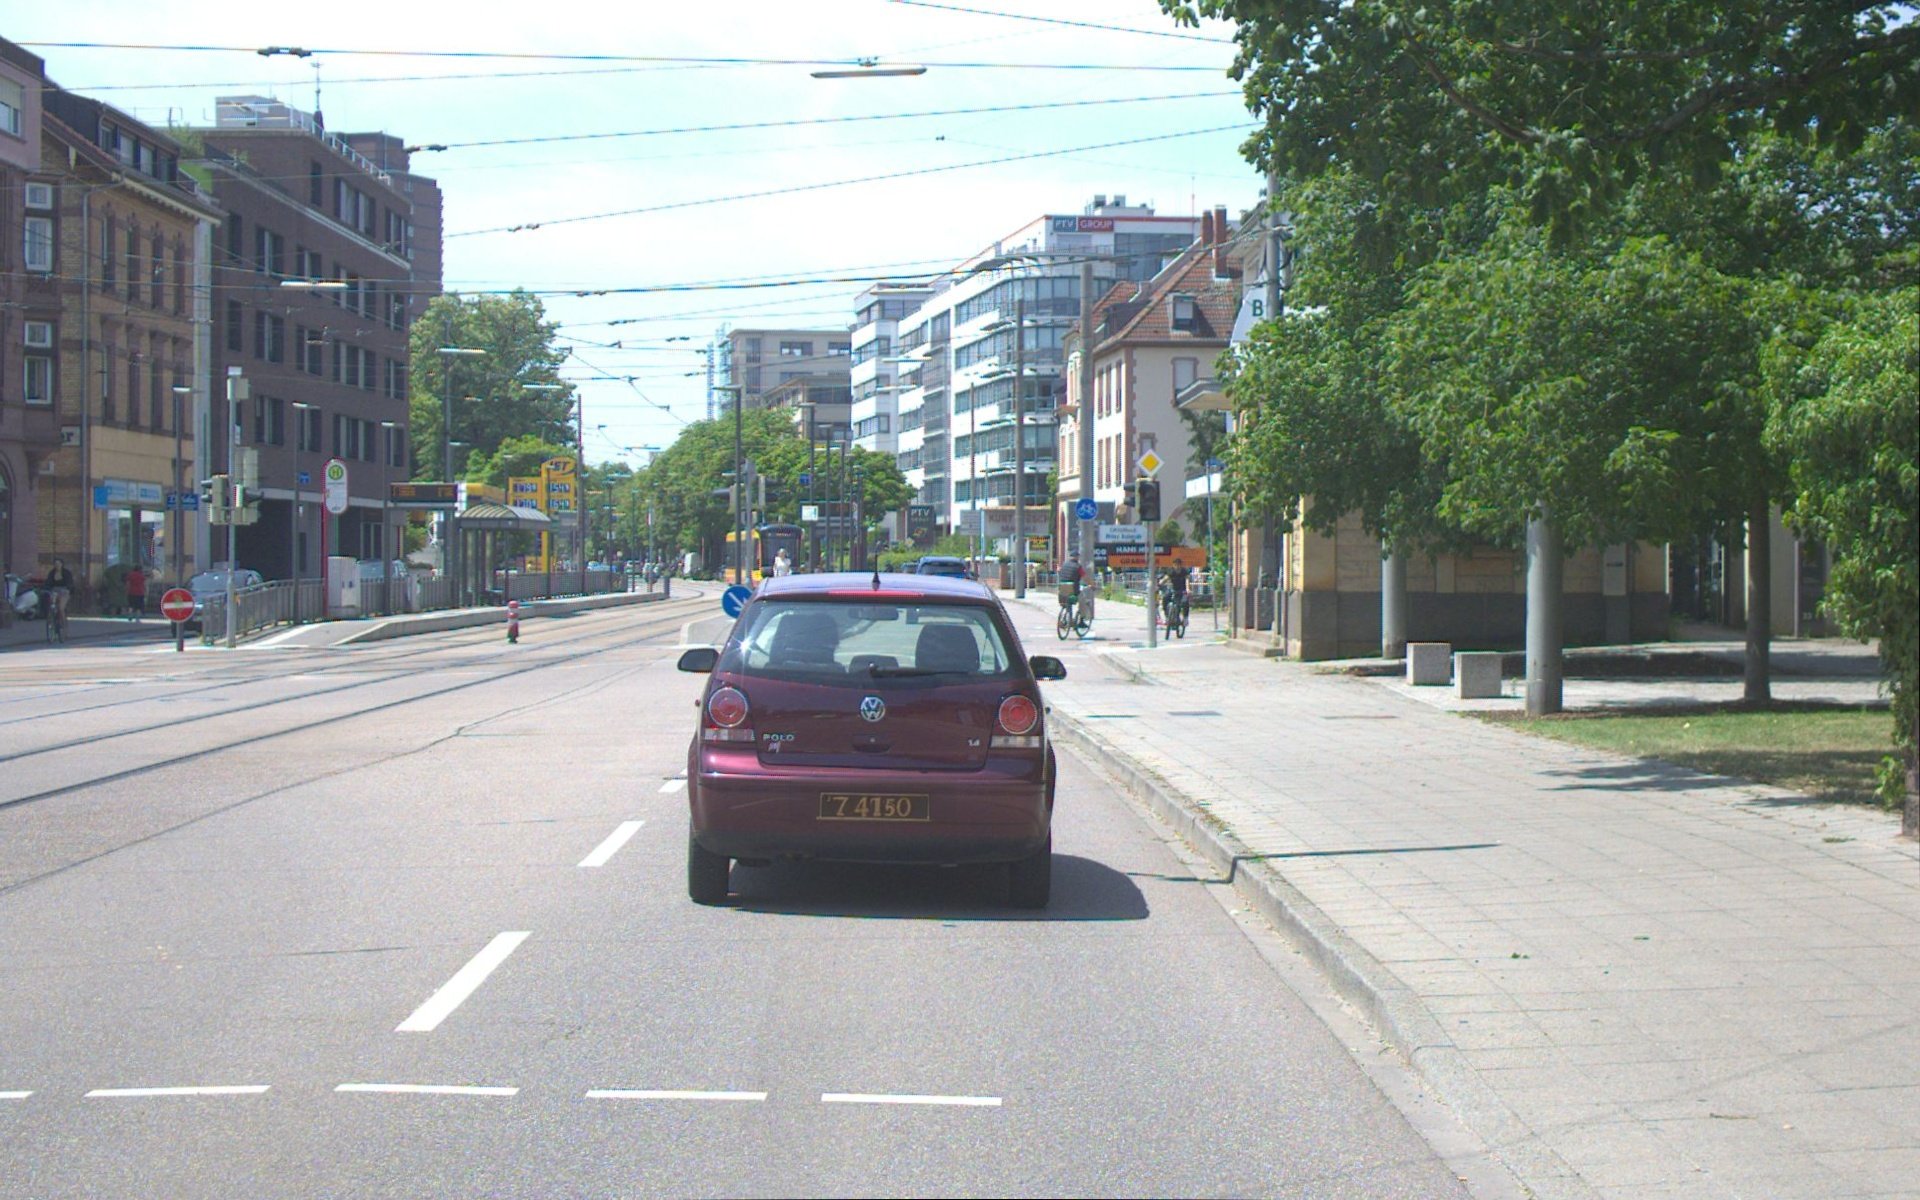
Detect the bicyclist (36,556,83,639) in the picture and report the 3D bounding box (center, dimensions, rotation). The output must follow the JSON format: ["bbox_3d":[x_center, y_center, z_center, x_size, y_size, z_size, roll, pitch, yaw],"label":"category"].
[{"bbox_3d":[-19.181,-0.062,73.267,0.732,1.756,1.135,0,1,-2],"label":"bicyclist"}]

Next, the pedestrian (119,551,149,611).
[{"bbox_3d":[-21.361,-0.497,88.875,0.614,1.555,0.640,0,1,-1],"label":"pedestrian"}]

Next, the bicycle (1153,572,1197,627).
[{"bbox_3d":[4.309,-0.023,68.939,0.668,0.999,1.864,-3,2,-1],"label":"bicycle"}]

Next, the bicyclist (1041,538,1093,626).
[{"bbox_3d":[2.164,-0.362,69.281,0.728,1.754,0.922,0,1,27],"label":"bicyclist"}]

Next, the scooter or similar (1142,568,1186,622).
[{"bbox_3d":[4.533,-0.122,76.329,0.339,1.174,1.468,0,1,-24],"label":"scooter or similar"}]

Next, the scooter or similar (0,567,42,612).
[{"bbox_3d":[-23.140,-0.260,84.254,0.488,1.078,1.576,0,1,17],"label":"scooter or similar"}]

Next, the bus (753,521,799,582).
[{"bbox_3d":[-9.213,-2.439,172.631,2.145,2.993,6.574,0,1,-1],"label":"bus"}]

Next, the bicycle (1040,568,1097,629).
[{"bbox_3d":[2.188,-0.038,69.126,0.376,1.193,1.902,0,1,26],"label":"bicycle"}]

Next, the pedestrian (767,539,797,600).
[{"bbox_3d":[-4.891,-0.835,94.574,0.763,1.669,1.100,0,1,1],"label":"pedestrian"}]

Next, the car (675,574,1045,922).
[{"bbox_3d":[-0.445,0.612,16.029,1.561,1.448,3.062,0,1,-1],"label":"car"}]

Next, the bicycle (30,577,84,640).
[{"bbox_3d":[-19.205,0.179,73.154,0.676,1.300,2.105,0,1,-2],"label":"bicycle"}]

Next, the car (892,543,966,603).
[{"bbox_3d":[-0.858,-0.754,95.355,1.993,1.619,4.632,0,1,0],"label":"car"}]

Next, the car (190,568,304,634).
[{"bbox_3d":[-16.048,0.001,77.550,1.709,1.434,3.865,0,1,1],"label":"car"}]

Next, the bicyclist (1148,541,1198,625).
[{"bbox_3d":[4.269,-0.347,68.956,0.832,1.612,0.860,-3,2,-1],"label":"bicyclist"}]
